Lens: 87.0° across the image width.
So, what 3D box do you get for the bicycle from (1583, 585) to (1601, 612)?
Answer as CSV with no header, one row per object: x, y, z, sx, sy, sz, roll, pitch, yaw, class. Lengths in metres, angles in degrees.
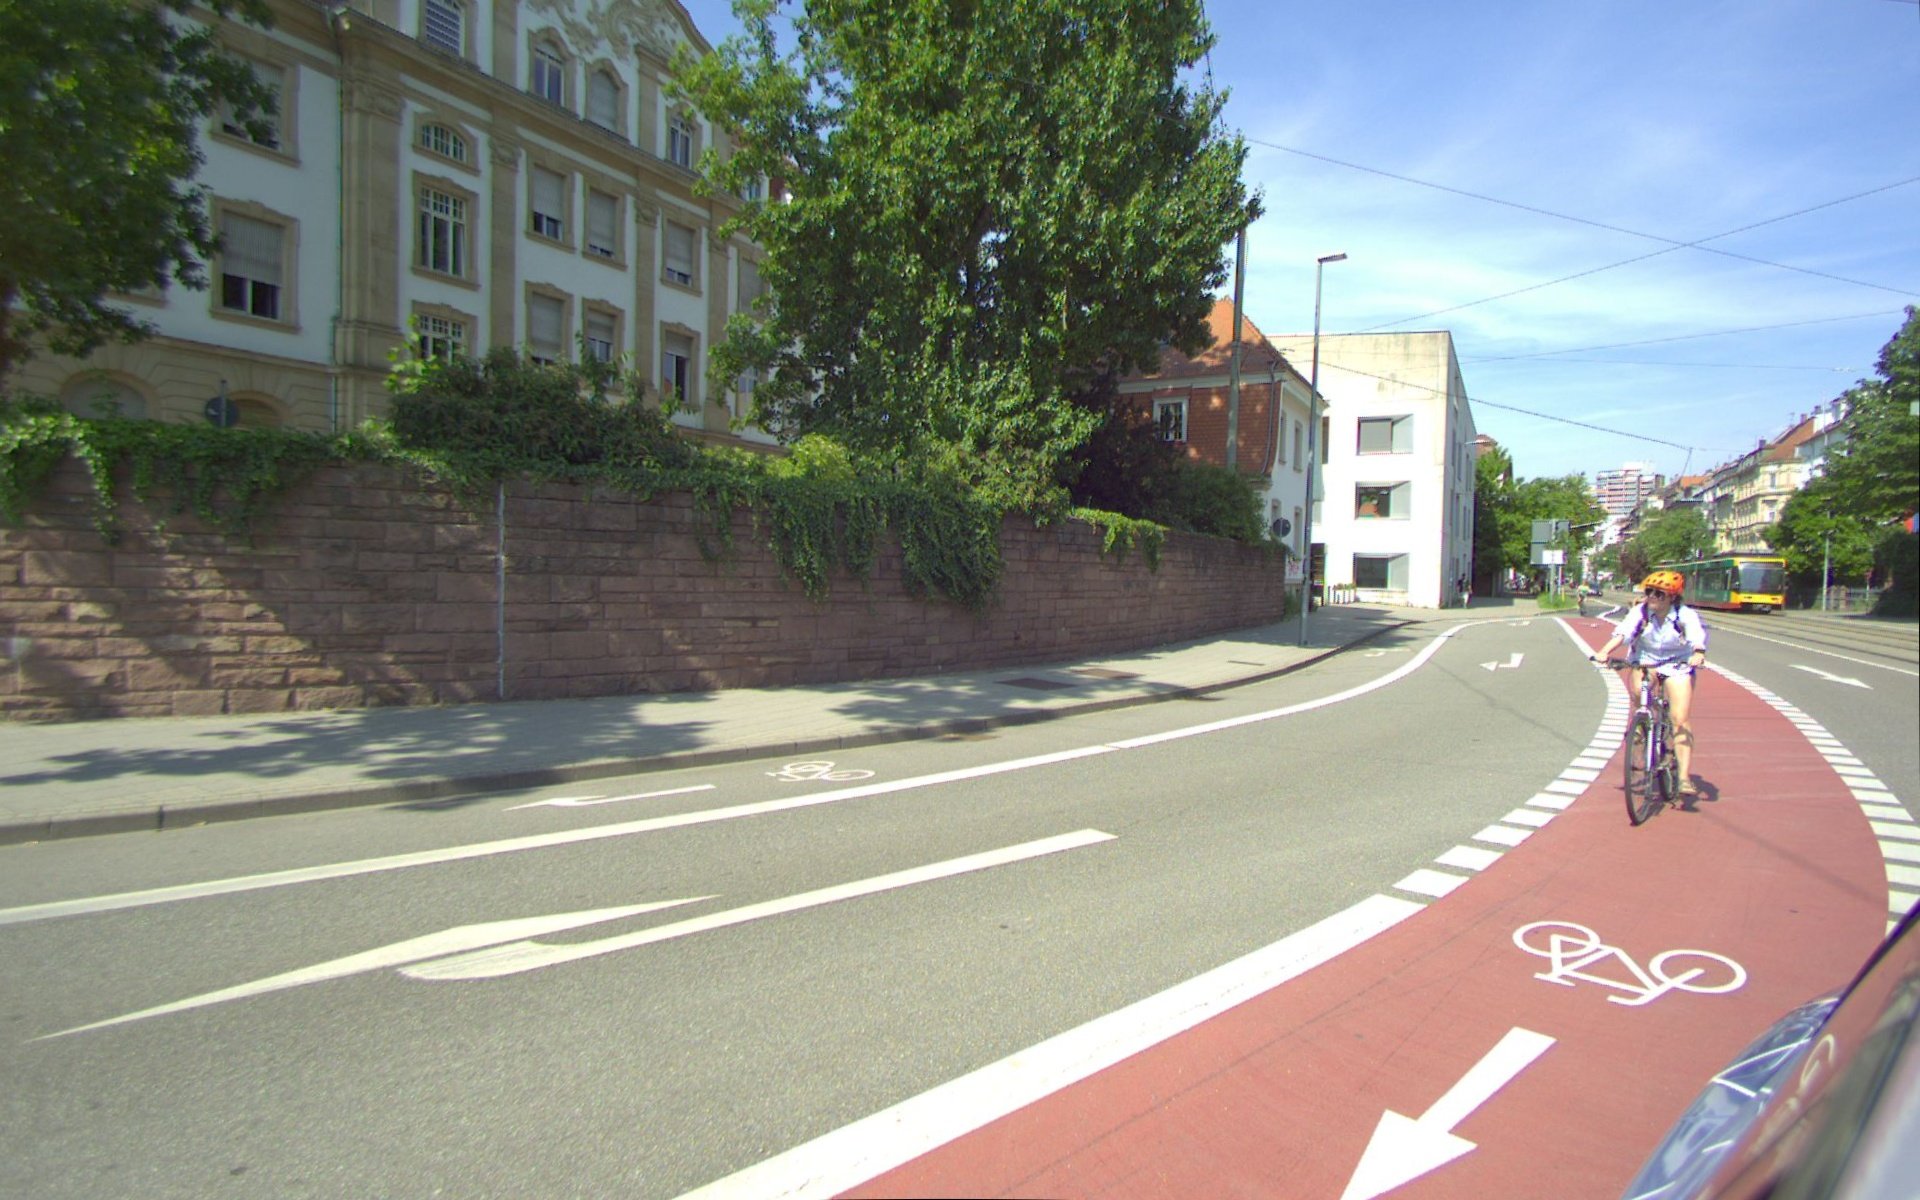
30.297,-0.092,48.526,0.681,1.237,2.162,2,2,32,bicycle

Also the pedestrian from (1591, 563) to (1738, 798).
4.829,0.498,6.928,0.996,1.484,0.584,0,1,-41,pedestrian

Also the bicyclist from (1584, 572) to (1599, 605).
30.375,-0.544,48.689,0.584,1.567,0.921,0,0,33,bicyclist

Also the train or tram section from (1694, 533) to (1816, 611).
45.216,-1.566,58.113,3.189,3.908,14.436,3,2,29,train or tram section

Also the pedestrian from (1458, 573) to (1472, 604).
26.402,-0.608,52.906,0.545,1.587,0.922,2,2,29,pedestrian

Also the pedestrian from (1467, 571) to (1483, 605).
26.812,-0.610,52.688,0.645,1.728,0.704,2,2,29,pedestrian

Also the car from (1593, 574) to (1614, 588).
69.831,-2.044,109.849,1.791,1.393,4.225,3,3,34,car

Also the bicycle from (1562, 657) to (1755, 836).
4.806,0.923,6.905,1.993,0.943,0.597,0,1,-41,bicycle
